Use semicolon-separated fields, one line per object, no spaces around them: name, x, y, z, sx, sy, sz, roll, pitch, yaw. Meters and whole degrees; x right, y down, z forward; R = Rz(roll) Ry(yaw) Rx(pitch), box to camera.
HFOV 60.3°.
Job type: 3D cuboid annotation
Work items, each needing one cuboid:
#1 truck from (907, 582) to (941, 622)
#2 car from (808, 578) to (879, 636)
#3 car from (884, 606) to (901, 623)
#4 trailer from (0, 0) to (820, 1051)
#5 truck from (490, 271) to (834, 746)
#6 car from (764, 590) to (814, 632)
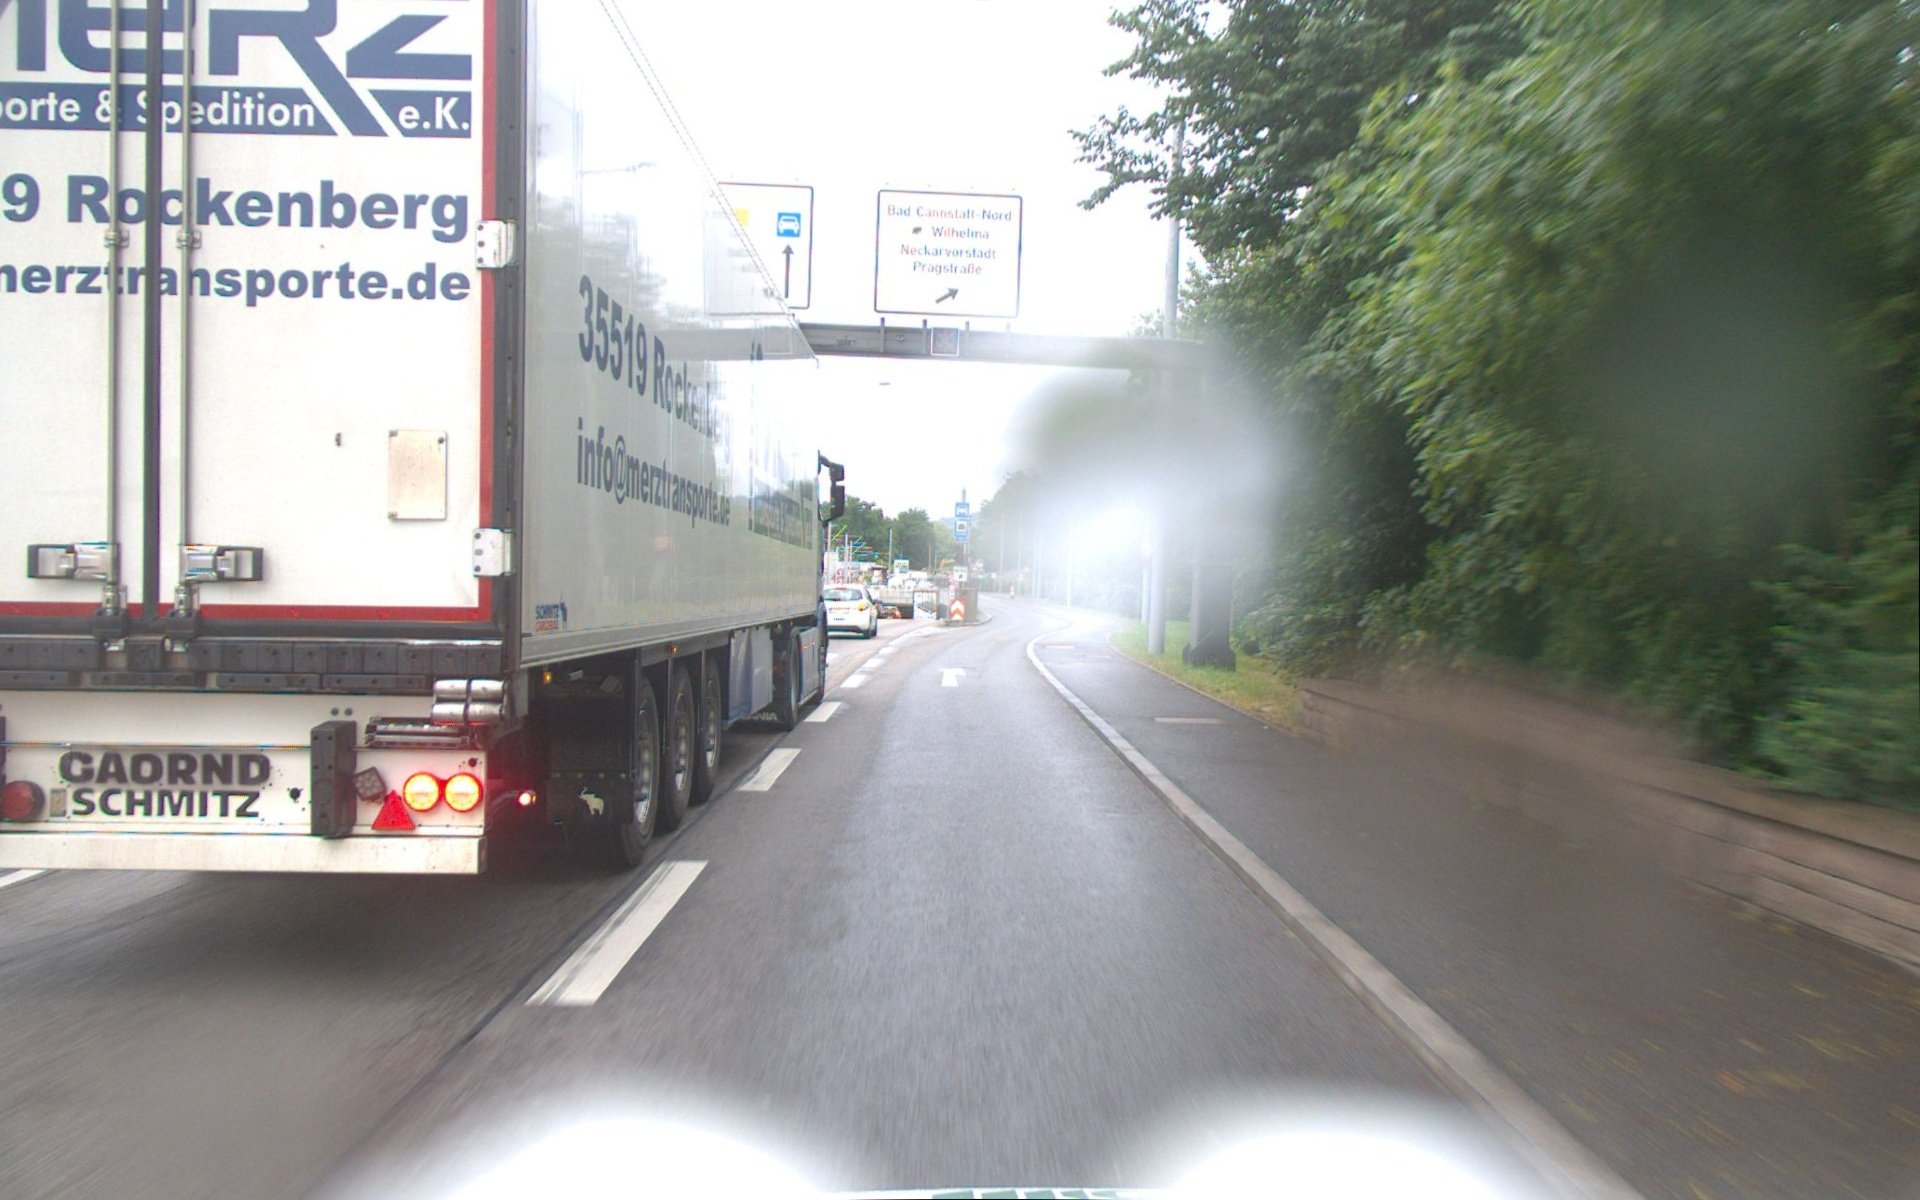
truck;-3.797;0.185;174.916;3.447;4.110;8.072;1;0;-1
car;-3.253;0.156;46.620;1.773;1.448;4.000;1;2;-1
car;-5.817;1.272;142.628;1.397;1.378;2.959;1;1;-1
trailer;-2.869;-0.762;12.036;2.706;4.327;13.182;0;1;-1
truck;-2.928;-0.858;18.089;2.700;4.278;6.305;0;1;-1
car;-6.851;0.412;66.617;1.647;1.471;4.000;1;2;-1
